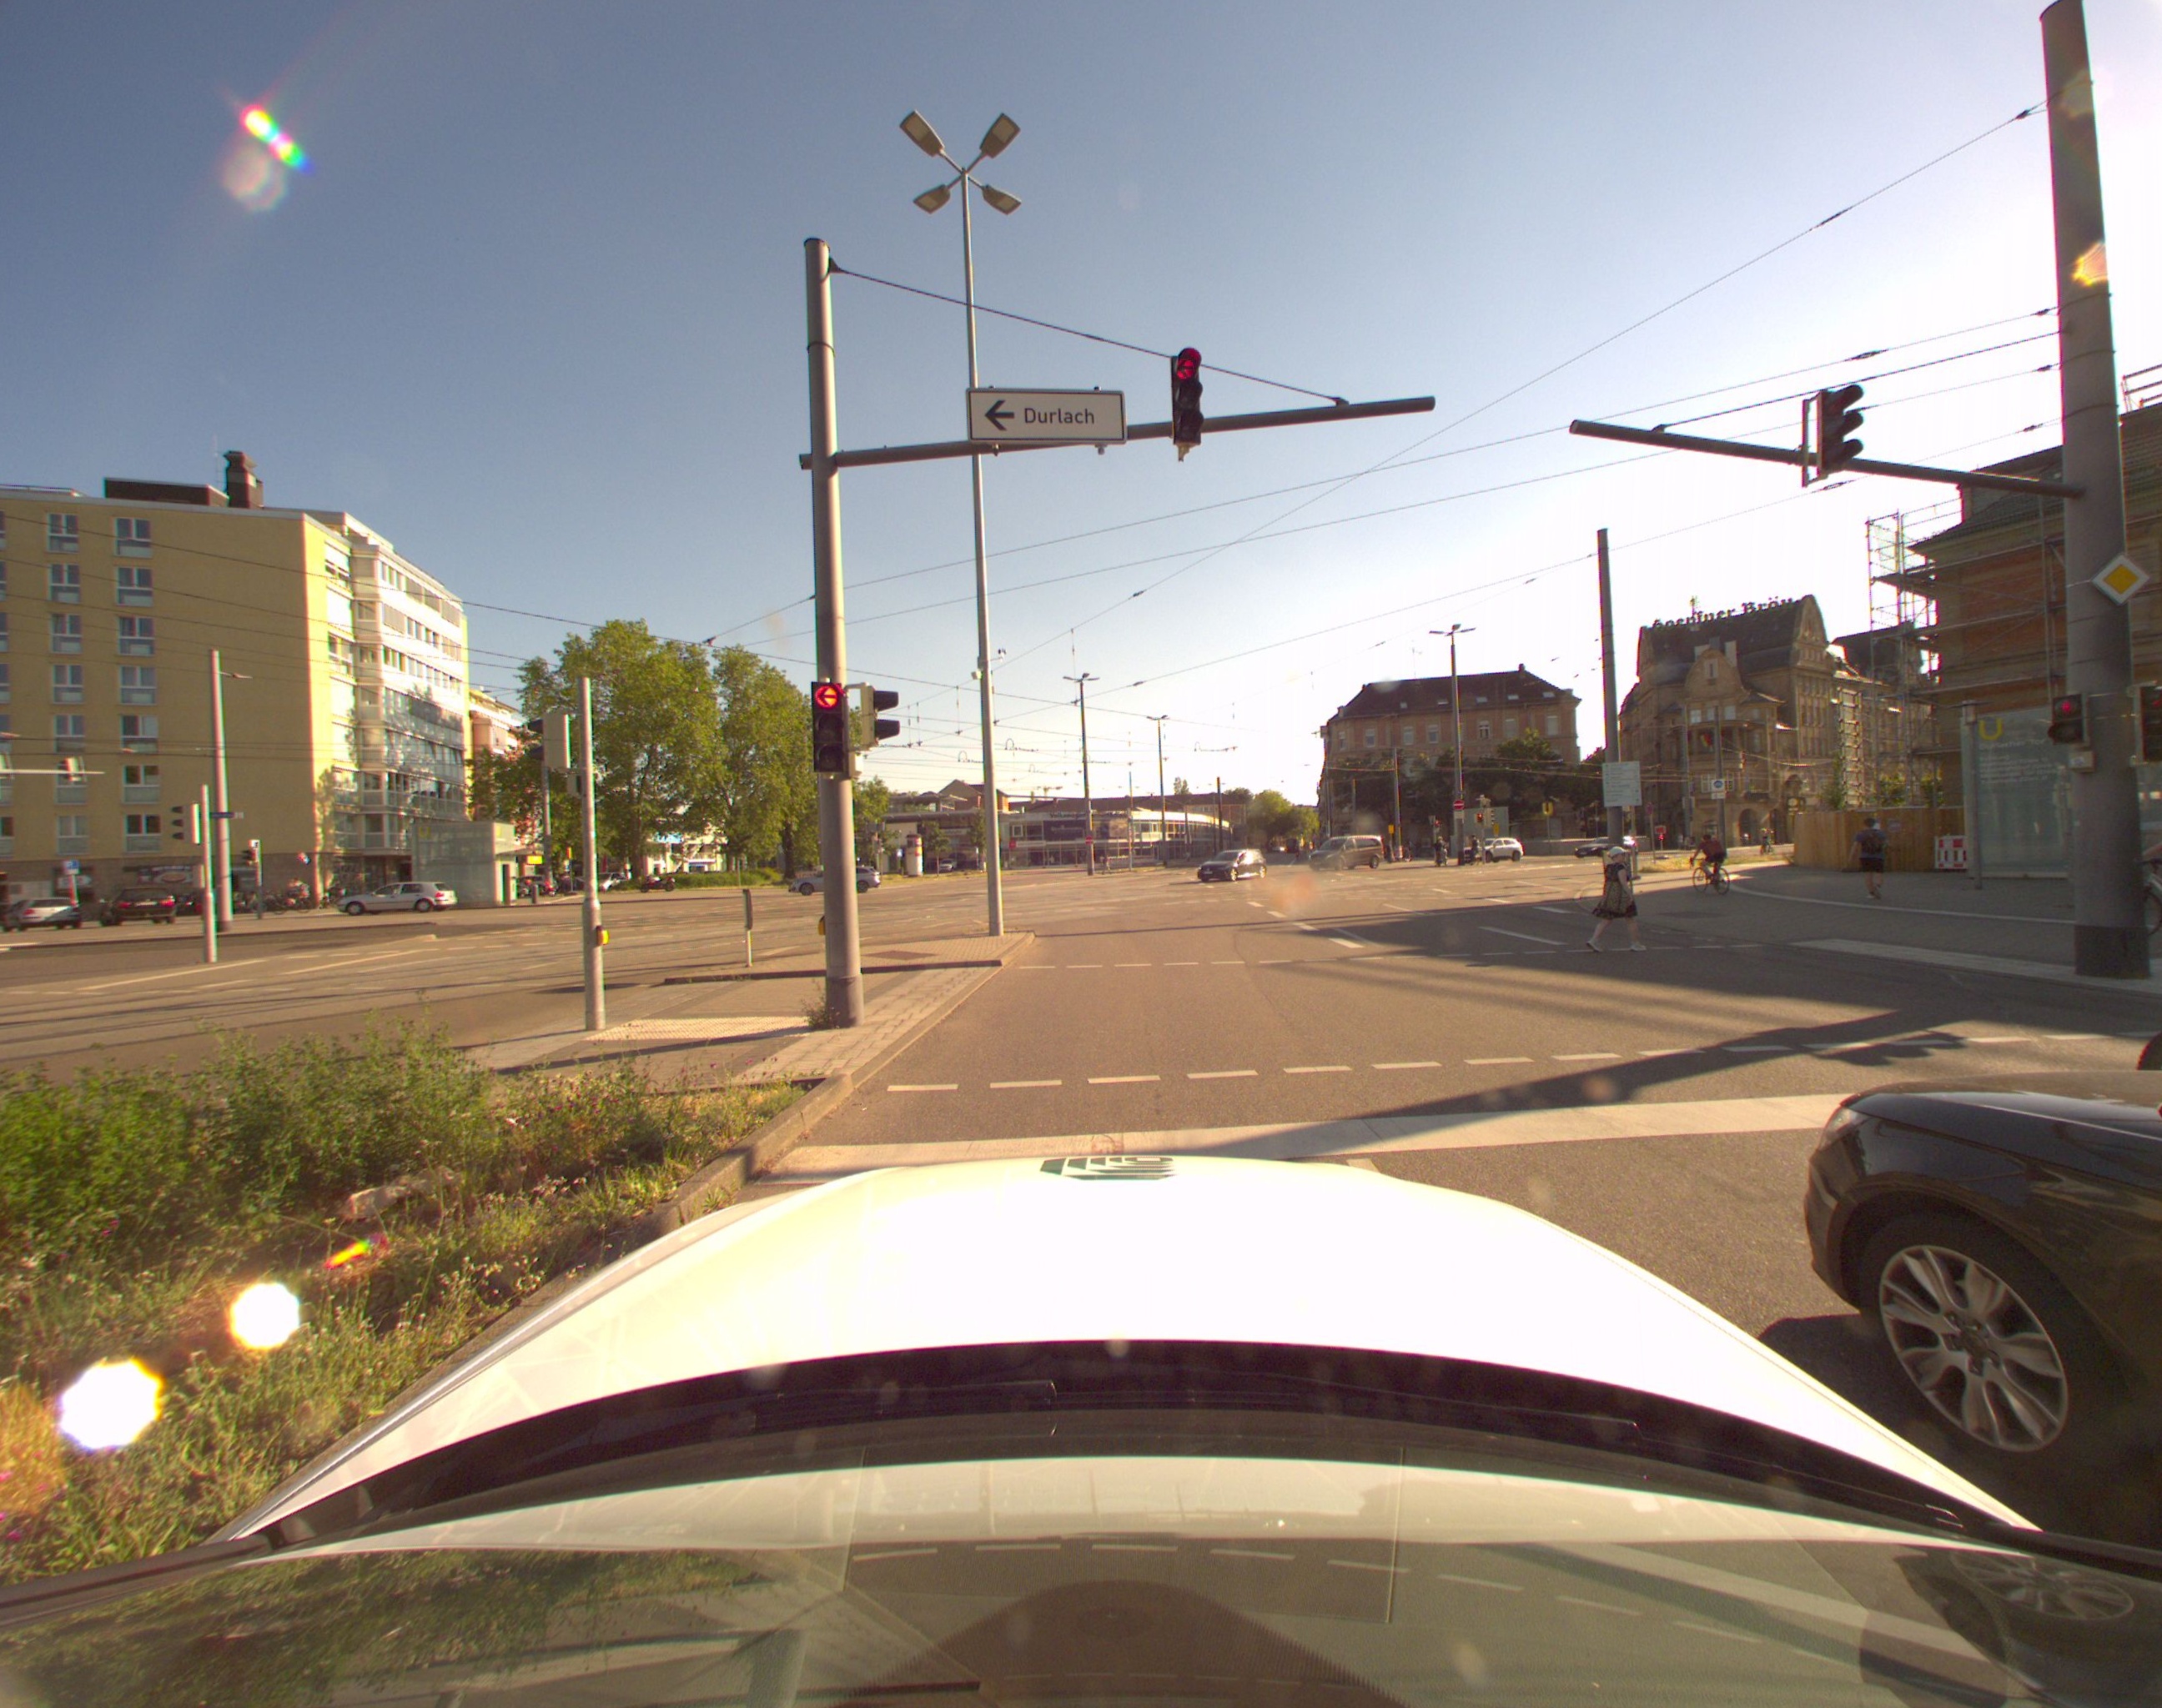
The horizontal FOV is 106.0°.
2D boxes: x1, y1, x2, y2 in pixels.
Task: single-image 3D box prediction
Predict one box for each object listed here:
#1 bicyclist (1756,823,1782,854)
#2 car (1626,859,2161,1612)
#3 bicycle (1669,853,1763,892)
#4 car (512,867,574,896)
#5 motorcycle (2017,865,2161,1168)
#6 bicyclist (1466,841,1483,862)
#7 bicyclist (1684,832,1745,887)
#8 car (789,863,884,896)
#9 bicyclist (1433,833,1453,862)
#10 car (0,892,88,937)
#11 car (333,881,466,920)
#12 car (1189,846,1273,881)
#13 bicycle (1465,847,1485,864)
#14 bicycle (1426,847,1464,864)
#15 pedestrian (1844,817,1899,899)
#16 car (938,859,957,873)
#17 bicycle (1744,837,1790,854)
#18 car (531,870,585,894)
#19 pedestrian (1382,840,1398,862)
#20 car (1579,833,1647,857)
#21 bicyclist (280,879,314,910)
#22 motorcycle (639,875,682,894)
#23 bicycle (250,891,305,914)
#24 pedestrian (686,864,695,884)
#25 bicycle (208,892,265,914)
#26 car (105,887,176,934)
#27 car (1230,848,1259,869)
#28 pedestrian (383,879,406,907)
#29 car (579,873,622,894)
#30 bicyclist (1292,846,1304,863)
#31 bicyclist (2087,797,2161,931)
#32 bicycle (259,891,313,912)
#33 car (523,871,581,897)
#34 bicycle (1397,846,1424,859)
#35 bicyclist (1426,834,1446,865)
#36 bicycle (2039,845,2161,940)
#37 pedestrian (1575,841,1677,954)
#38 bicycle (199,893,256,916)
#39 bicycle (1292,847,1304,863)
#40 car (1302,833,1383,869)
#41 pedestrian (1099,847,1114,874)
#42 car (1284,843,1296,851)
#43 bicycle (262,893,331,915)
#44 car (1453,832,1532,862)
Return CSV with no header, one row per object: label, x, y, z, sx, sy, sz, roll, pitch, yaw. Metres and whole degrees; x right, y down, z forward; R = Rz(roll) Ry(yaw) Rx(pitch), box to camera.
bicyclist,38.048,-0.883,45.056,0.747,1.690,0.855,-2,1,-20
car,3.025,0.748,1.103,1.796,1.444,3.974,-1,0,-3
bicycle,16.483,0.492,21.210,0.717,0.952,2.250,-1,-1,2
car,-42.534,2.145,64.455,4.016,2.013,1.979,-2,0,-33
motorcycle,5.467,0.741,2.976,1.091,1.377,2.655,-1,-1,3
bicyclist,23.291,-0.141,48.200,0.850,1.176,0.719,-1,1,22
bicyclist,16.478,0.148,21.200,0.717,1.384,1.076,-1,-2,2
car,-12.731,1.299,42.427,4.559,1.517,1.940,-2,0,-20
bicyclist,21.448,-0.409,48.196,0.653,1.690,0.852,-2,2,-29
car,-46.540,2.668,36.538,3.949,1.748,1.851,0,2,30
car,-30.783,2.067,36.928,4.104,1.452,1.942,-2,0,-17
car,7.351,0.447,39.742,4.126,1.486,1.930,-2,0,-43
bicycle,23.293,0.077,48.174,0.850,0.905,2.316,-1,2,21
bicycle,21.552,0.092,48.266,2.310,0.905,0.852,-2,2,-30
pedestrian,16.766,0.080,17.300,0.690,1.671,0.834,-4,-1,40
car,-16.581,1.461,101.346,1.990,1.534,3.995,-1,2,-4
bicycle,37.910,-0.479,45.000,2.501,0.874,0.854,-2,2,-20
car,-47.271,2.536,73.652,4.016,1.857,1.834,-2,2,-33
pedestrian,23.556,-0.215,62.056,0.921,1.676,0.783,-2,0,1
car,37.471,-0.633,57.373,4.361,1.563,1.937,-2,2,-23
bicyclist,-41.573,2.117,43.196,0.925,1.559,0.958,-2,0,-14
motorcycle,-26.466,1.931,51.279,2.286,1.054,0.685,-2,1,-12
bicycle,-44.993,2.707,45.621,2.047,1.090,0.772,-2,0,-18
pedestrian,-41.164,2.123,85.859,0.586,2.013,0.711,-2,0,1
bicycle,-47.407,2.757,45.738,2.047,1.090,0.772,-2,0,-18
car,-43.640,2.561,37.768,3.948,1.857,1.865,0,2,38
car,13.651,0.355,68.048,1.937,1.594,4.625,-2,0,7
pedestrian,-42.002,2.374,49.859,0.777,1.676,0.778,-2,0,-15
car,-37.466,2.267,63.602,1.850,1.452,3.980,-2,0,-14
bicyclist,24.778,0.066,92.958,1.110,1.900,1.079,-1,1,19
bicyclist,14.060,0.106,10.464,0.775,1.677,1.093,-5,0,0
bicycle,-45.288,2.691,46.412,2.047,1.090,0.772,-2,0,-18
car,-45.144,2.529,69.571,4.016,1.857,1.834,-2,2,-33
bicycle,28.871,-0.132,71.385,2.305,0.979,0.854,-2,2,-22
bicyclist,20.882,-0.273,47.899,0.586,1.778,0.859,-2,-1,-29
bicycle,14.094,0.491,10.478,0.775,1.156,2.291,-5,0,0
pedestrian,8.166,0.622,12.218,1.092,1.606,0.697,-1,1,-9
bicycle,-47.071,2.772,44.935,2.047,1.090,0.772,-2,0,-18
bicycle,24.794,0.096,92.988,1.126,1.690,4.020,-1,2,18
car,15.245,-0.177,47.428,4.872,1.893,1.932,-2,0,-36
pedestrian,1.831,0.457,58.086,0.986,1.816,0.920,-1,1,0
car,49.113,-1.590,191.392,1.795,1.655,3.919,-1,2,1
bicycle,-41.585,2.651,43.189,2.441,1.003,0.958,-2,0,-14
car,26.839,-0.472,53.092,4.859,1.799,1.937,-2,0,-25
